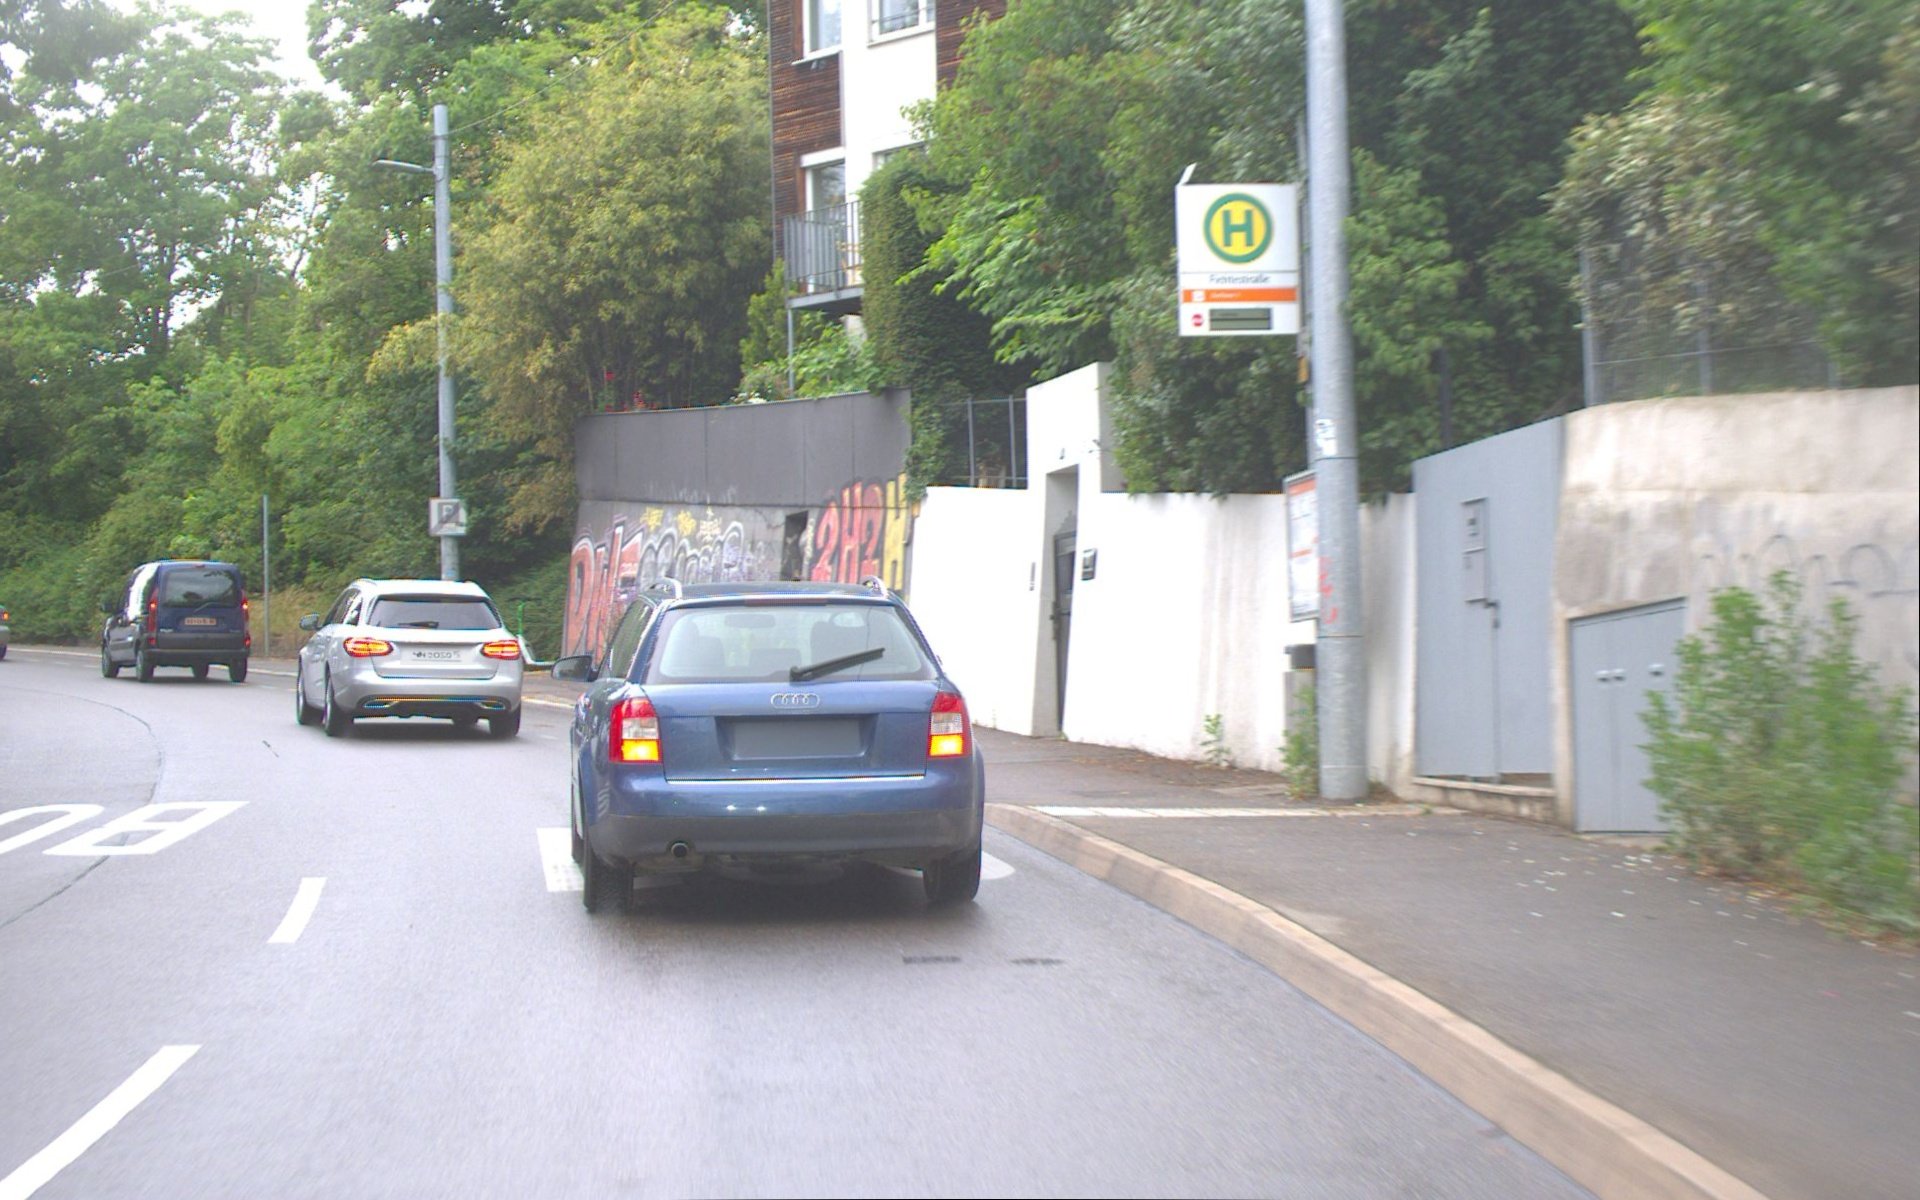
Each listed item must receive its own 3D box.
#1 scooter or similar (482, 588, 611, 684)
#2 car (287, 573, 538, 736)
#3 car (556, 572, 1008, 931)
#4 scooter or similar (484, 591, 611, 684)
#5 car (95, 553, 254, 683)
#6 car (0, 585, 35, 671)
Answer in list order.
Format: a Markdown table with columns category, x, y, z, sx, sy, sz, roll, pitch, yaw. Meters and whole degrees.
| category | x | y | z | sx | sy | sz | roll | pitch | yaw |
| --- | --- | --- | --- | --- | --- | --- | --- | --- | --- |
| scooter or similar | -6.350 | 0.556 | 52.773 | 1.833 | 1.310 | 0.600 | 4 | -4 | -10 |
| car | -5.301 | 0.504 | 32.849 | 1.908 | 1.384 | 4.351 | 2 | -1 | -15 |
| car | -0.954 | 0.619 | 16.044 | 1.777 | 1.434 | 4.001 | -1 | 0 | -8 |
| scooter or similar | -6.433 | 0.590 | 53.594 | 1.833 | 1.310 | 0.600 | 4 | -4 | -10 |
| car | -12.157 | 0.268 | 53.067 | 1.730 | 1.888 | 4.056 | -2 | 0 | -22 |
| car | -18.992 | 0.554 | 64.753 | 1.766 | 1.565 | 4.030 | -2 | 0 | -34 |
